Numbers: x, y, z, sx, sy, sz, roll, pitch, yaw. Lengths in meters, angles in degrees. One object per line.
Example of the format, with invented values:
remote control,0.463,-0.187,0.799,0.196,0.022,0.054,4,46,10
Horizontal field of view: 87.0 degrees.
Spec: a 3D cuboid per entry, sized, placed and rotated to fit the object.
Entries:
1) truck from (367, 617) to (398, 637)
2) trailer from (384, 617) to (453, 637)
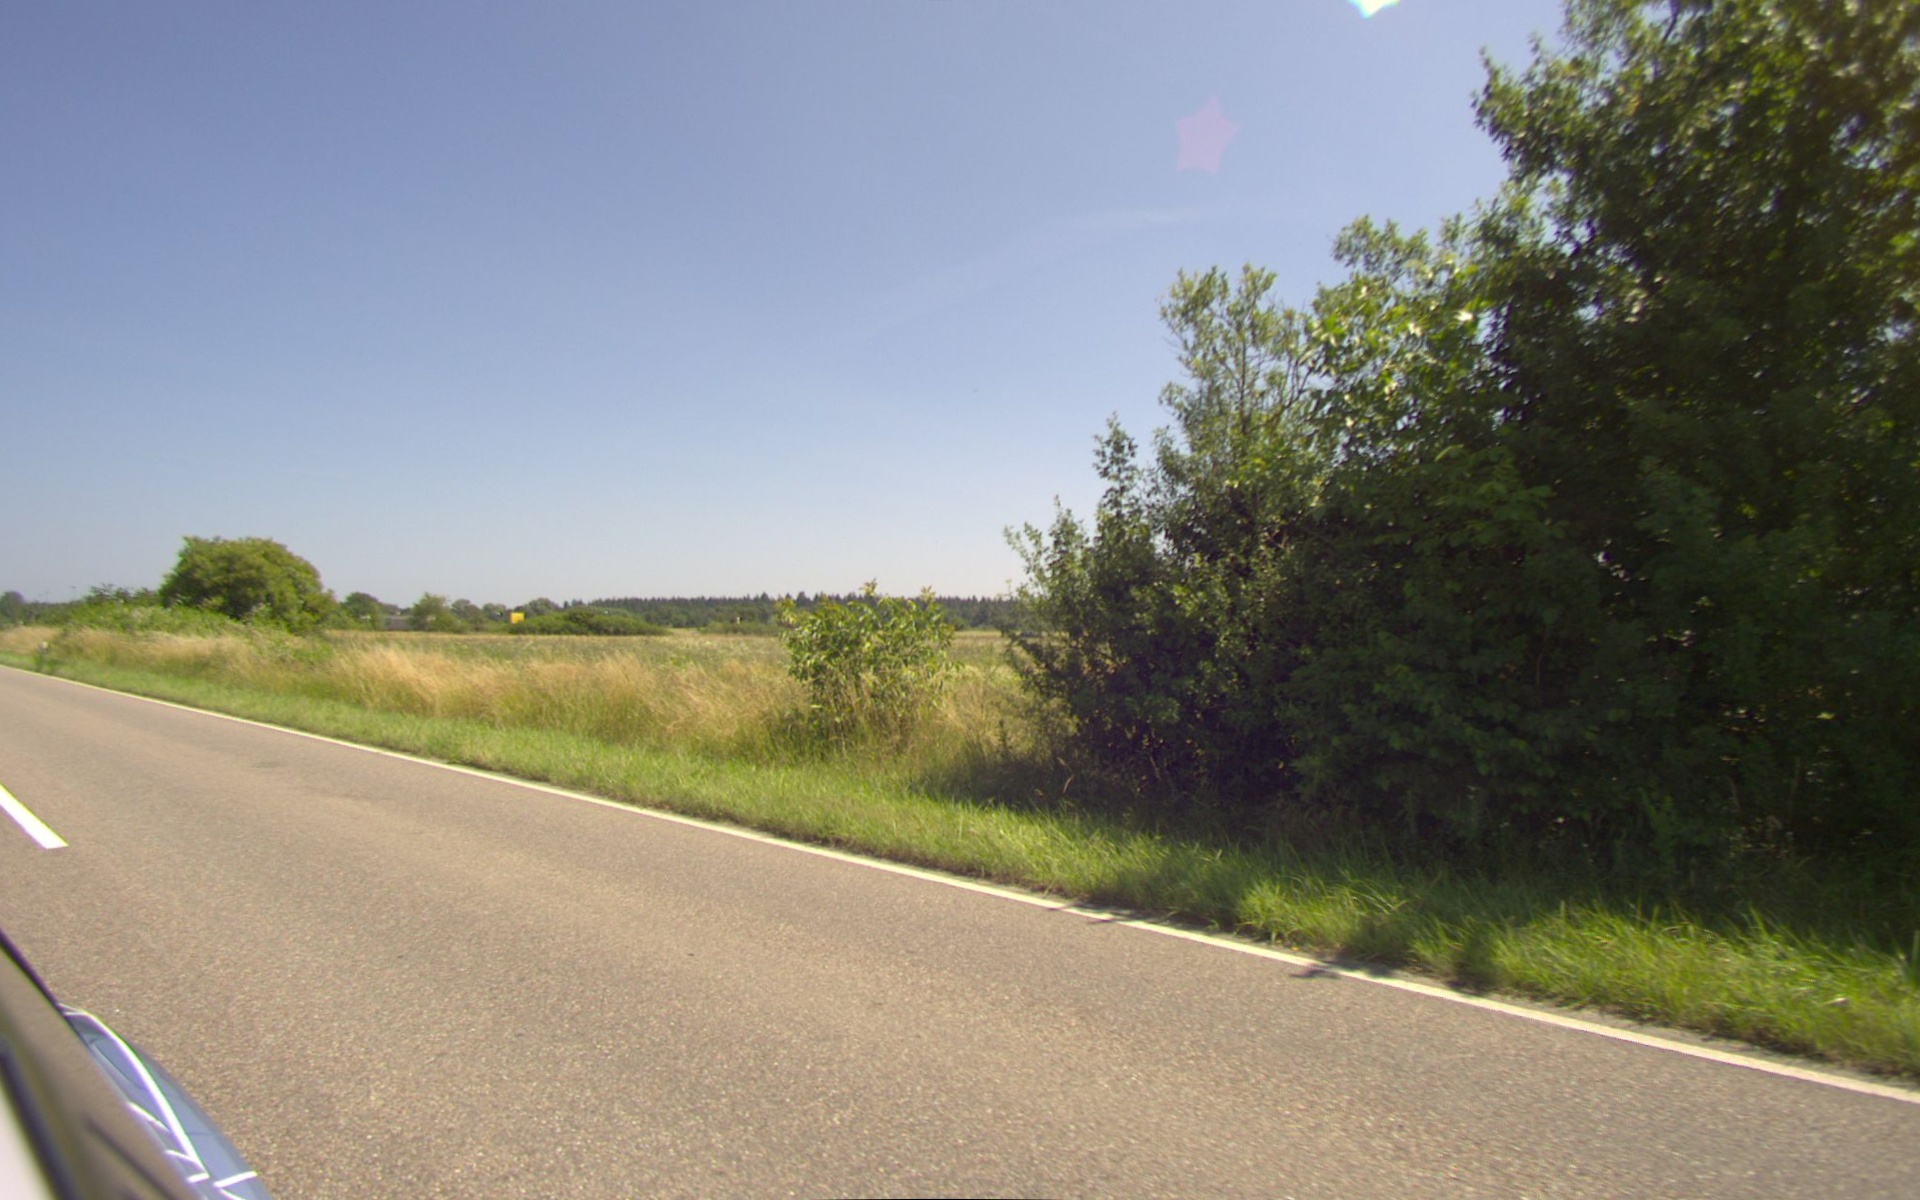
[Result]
truck,-116.390,5.448,203.995,4.730,3.964,2.633,0,-2,13
trailer,-108.156,5.464,202.016,13.740,3.964,2.633,0,-2,13
